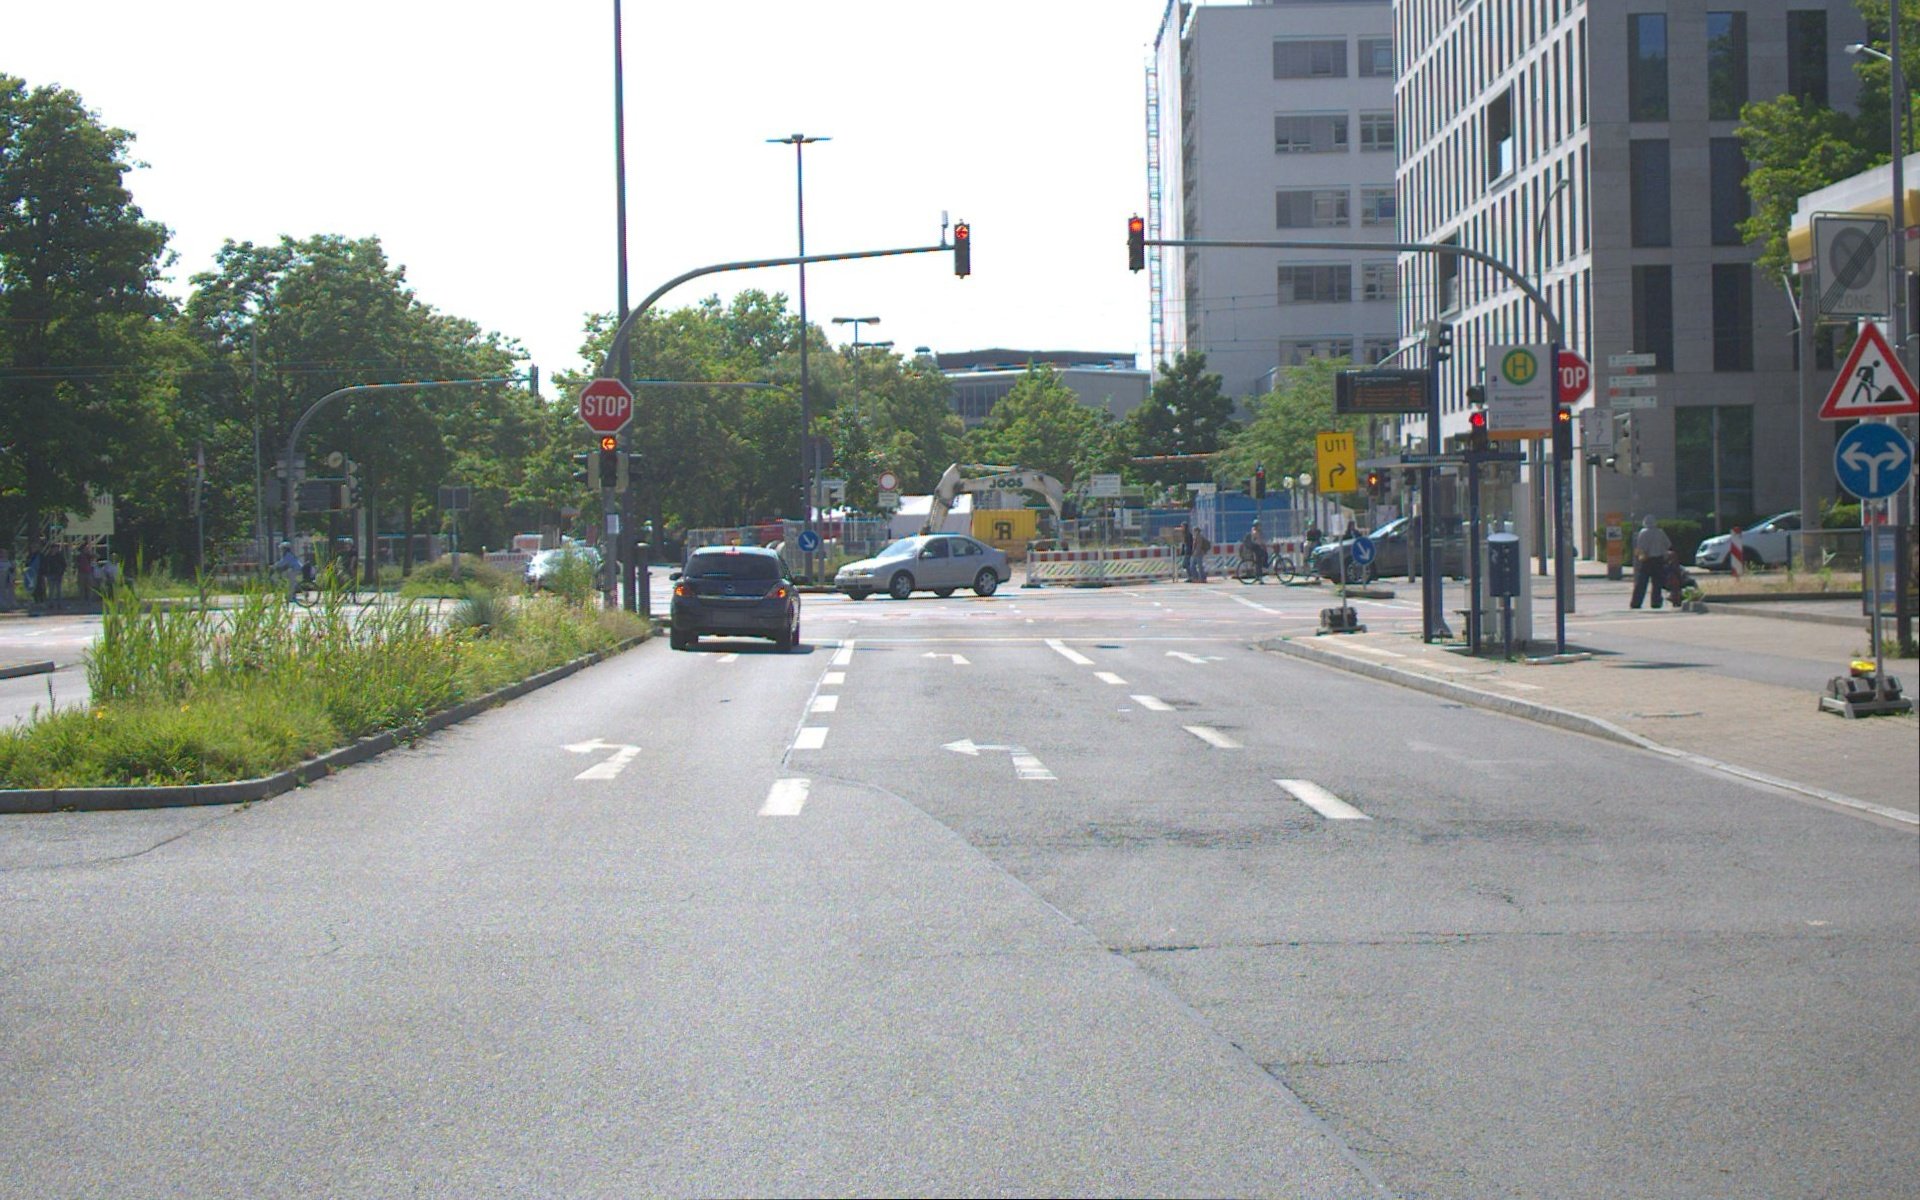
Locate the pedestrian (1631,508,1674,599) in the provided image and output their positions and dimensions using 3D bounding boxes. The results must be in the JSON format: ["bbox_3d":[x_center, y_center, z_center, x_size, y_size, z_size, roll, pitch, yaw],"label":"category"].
[{"bbox_3d":[11.783,-0.791,58.491,0.618,1.538,0.461,-1,1,-2],"label":"pedestrian"}]

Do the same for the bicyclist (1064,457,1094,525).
[{"bbox_3d":[4.536,-4.154,130.855,1.070,2.565,0.827,0,1,5],"label":"bicyclist"}]

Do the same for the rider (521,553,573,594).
[{"bbox_3d":[-12.496,-0.814,104.053,1.391,1.191,2.698,-1,1,-3],"label":"rider"}]

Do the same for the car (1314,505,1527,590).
[{"bbox_3d":[11.219,-1.299,83.996,4.853,2.007,2.000,-1,1,-3],"label":"car"}]

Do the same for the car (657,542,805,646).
[{"bbox_3d":[-3.283,-0.117,49.136,1.993,1.393,4.001,-1,1,-4],"label":"car"}]

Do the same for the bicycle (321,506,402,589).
[{"bbox_3d":[-16.829,-1.470,96.849,1.599,2.261,4.000,-1,1,-1],"label":"bicycle"}]

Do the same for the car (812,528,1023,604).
[{"bbox_3d":[-0.970,-0.785,78.657,4.381,1.633,2.000,-2,1,-28],"label":"car"}]

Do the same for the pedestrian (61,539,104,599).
[{"bbox_3d":[-23.533,-0.828,92.232,0.667,1.606,0.941,0,1,22],"label":"pedestrian"}]

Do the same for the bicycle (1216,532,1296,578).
[{"bbox_3d":[8.299,-1.269,96.362,2.229,1.280,0.525,0,1,8],"label":"bicycle"}]

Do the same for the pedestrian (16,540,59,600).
[{"bbox_3d":[-24.571,-0.801,91.562,0.655,1.606,0.941,0,1,22],"label":"pedestrian"}]

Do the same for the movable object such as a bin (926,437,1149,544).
[{"bbox_3d":[3.410,-4.814,151.547,9.675,4.534,3.164,-1,1,1],"label":"movable object such as a bin"}]

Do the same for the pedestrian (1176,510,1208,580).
[{"bbox_3d":[6.722,-1.591,99.737,0.788,2.007,0.542,-1,1,-11],"label":"pedestrian"}]

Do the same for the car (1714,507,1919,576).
[{"bbox_3d":[21.226,-1.443,84.602,4.854,1.631,2.000,-1,1,-2],"label":"car"}]

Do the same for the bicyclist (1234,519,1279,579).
[{"bbox_3d":[8.314,-1.429,96.368,1.240,1.667,0.525,0,1,8],"label":"bicyclist"}]

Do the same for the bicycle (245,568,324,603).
[{"bbox_3d":[-17.743,-0.389,90.321,1.999,0.880,0.527,-1,1,-11],"label":"bicycle"}]

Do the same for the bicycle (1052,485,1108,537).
[{"bbox_3d":[4.579,-3.392,130.867,2.088,1.955,0.827,0,1,5],"label":"bicycle"}]

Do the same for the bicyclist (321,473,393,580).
[{"bbox_3d":[-16.825,-2.043,96.031,1.599,2.921,2.353,-1,1,-1],"label":"bicyclist"}]

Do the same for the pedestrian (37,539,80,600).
[{"bbox_3d":[-23.821,-0.801,90.819,0.655,1.606,0.941,0,1,22],"label":"pedestrian"}]

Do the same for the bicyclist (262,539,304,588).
[{"bbox_3d":[-17.785,-0.955,90.316,1.051,1.270,0.492,-1,1,-11],"label":"bicyclist"}]

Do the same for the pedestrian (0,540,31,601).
[{"bbox_3d":[-25.321,-0.790,91.570,0.655,1.606,0.941,0,1,22],"label":"pedestrian"}]

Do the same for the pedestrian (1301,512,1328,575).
[{"bbox_3d":[10.013,-1.596,97.026,0.528,1.765,0.720,-1,1,-14],"label":"pedestrian"}]

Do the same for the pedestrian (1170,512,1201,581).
[{"bbox_3d":[6.593,-1.576,100.428,0.788,2.007,0.542,-1,1,-11],"label":"pedestrian"}]

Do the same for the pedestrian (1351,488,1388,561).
[{"bbox_3d":[11.317,-2.098,95.001,0.779,2.007,0.776,0,1,28],"label":"pedestrian"}]
